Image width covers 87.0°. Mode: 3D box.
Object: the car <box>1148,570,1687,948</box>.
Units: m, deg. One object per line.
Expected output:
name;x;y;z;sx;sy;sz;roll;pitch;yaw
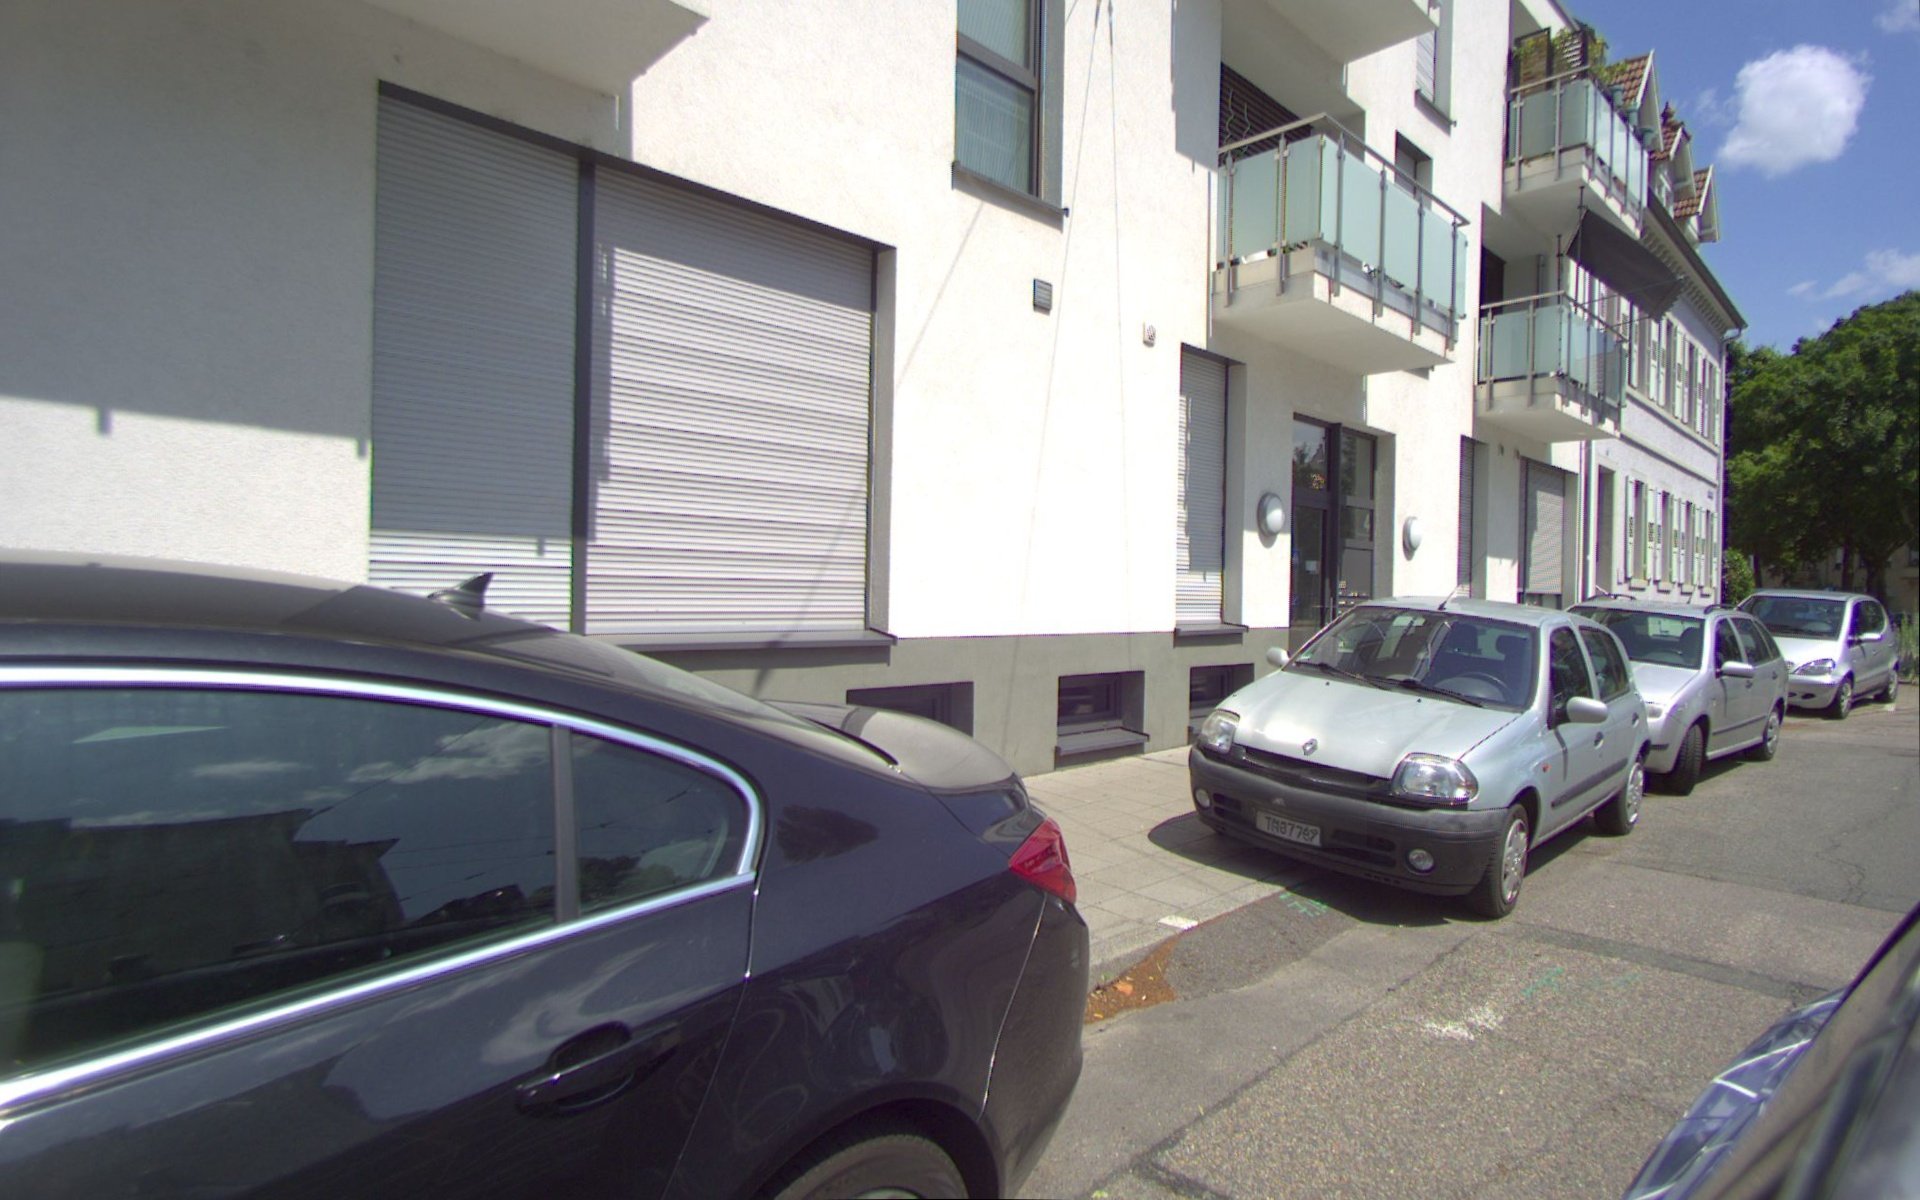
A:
car;2.859;0.613;5.938;3.646;1.450;1.595;-1;5;-44

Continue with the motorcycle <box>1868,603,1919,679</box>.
motorcycle;18.184;0.752;19.433;2.296;1.369;0.801;0;0;-40

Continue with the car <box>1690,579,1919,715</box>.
car;12.083;0.544;14.365;3.730;1.630;1.732;-1;3;-37

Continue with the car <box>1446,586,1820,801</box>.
car;6.259;0.659;9.248;3.971;1.450;1.731;0;4;-40

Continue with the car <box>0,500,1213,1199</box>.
car;-1.686;0.629;1.192;1.801;1.527;4.475;6;5;44
